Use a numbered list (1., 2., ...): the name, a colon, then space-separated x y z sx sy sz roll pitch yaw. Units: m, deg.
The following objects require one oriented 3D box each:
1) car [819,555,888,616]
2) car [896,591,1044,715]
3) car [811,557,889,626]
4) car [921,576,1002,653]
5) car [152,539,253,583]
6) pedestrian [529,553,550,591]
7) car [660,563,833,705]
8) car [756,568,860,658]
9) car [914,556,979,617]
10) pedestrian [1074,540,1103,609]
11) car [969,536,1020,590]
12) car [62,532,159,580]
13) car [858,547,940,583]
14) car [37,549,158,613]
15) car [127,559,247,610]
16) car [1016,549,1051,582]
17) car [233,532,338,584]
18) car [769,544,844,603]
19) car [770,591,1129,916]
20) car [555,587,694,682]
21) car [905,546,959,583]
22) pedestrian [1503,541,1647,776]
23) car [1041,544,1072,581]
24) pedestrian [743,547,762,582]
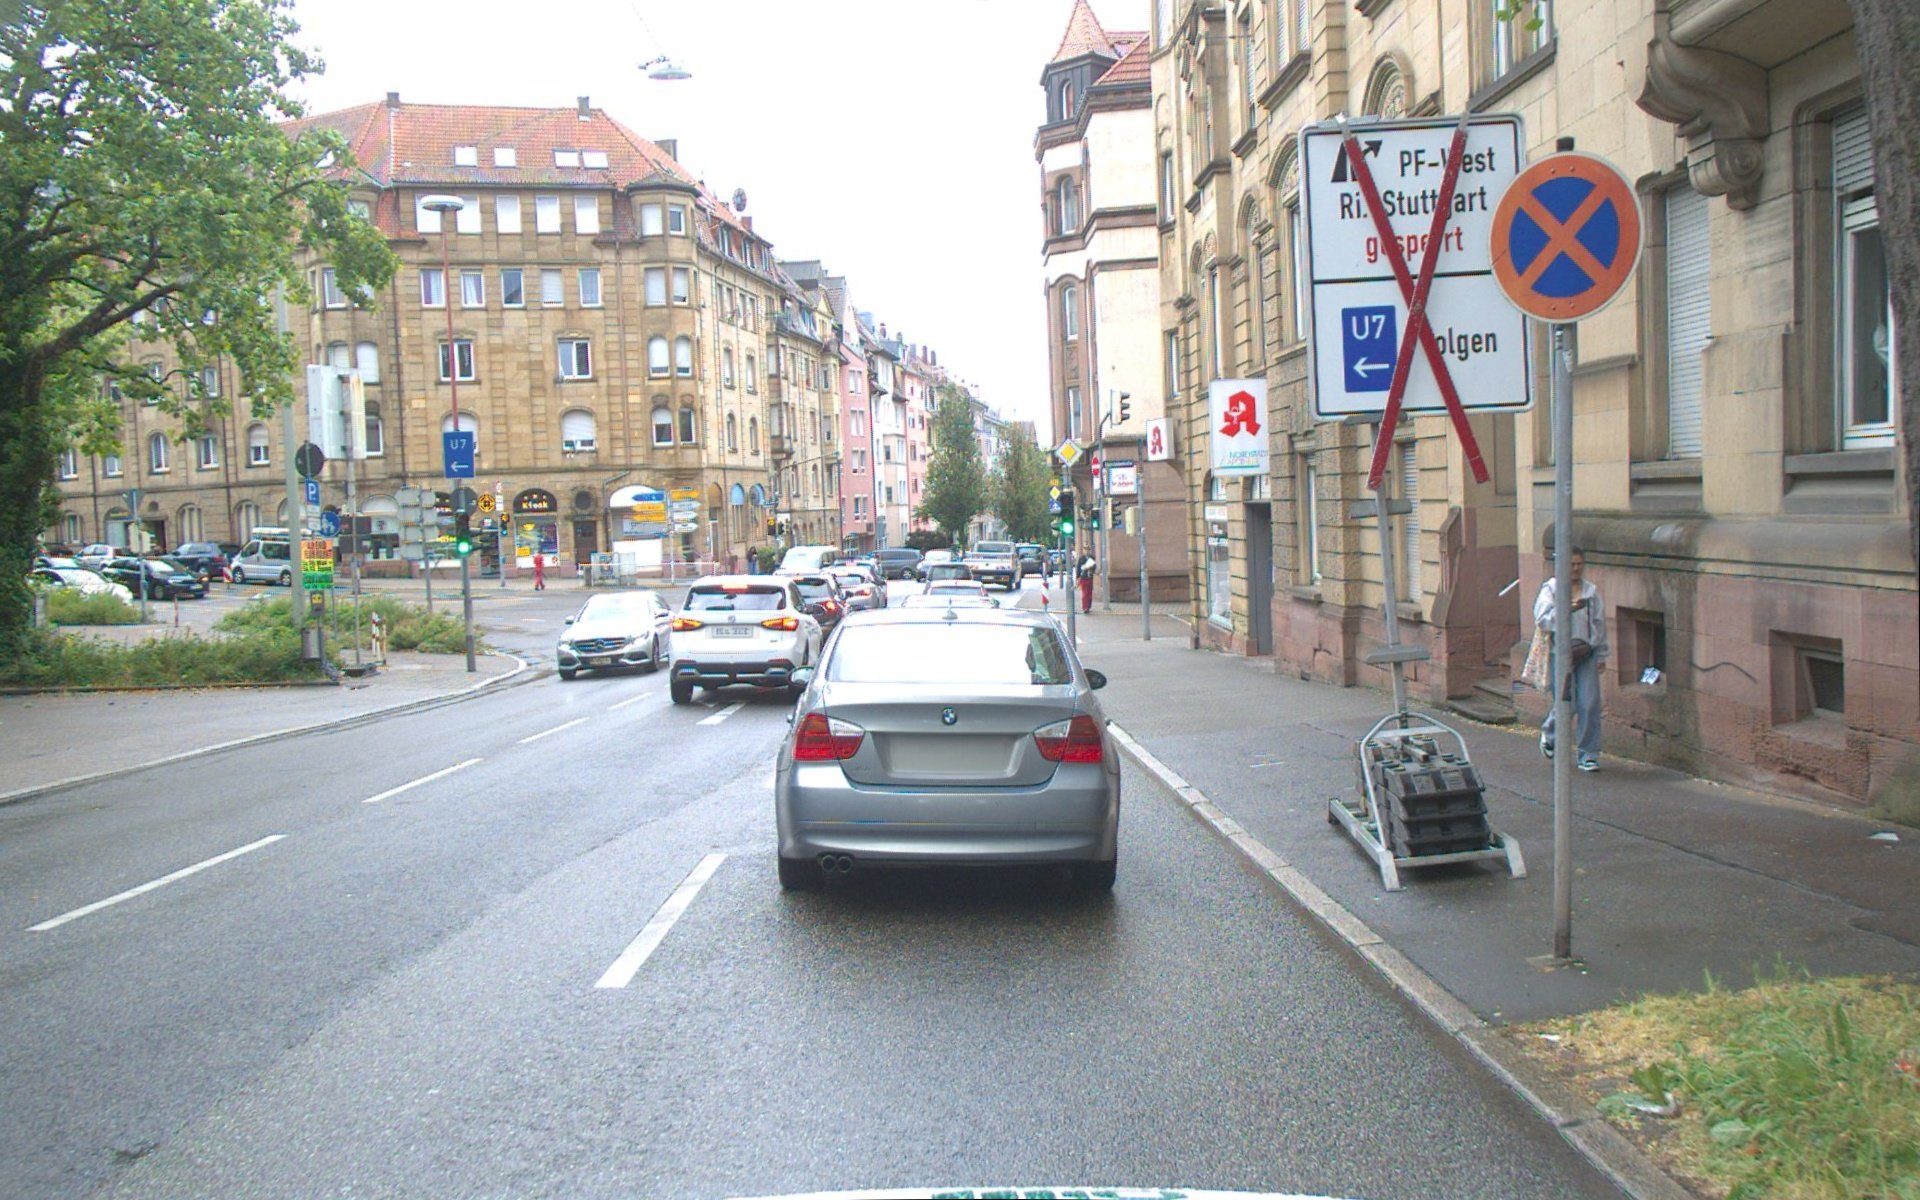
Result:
1. car: -3.133 -0.436 49.113 1.723 1.737 4.001 0 1 1
2. car: 0.147 0.603 21.263 1.723 1.407 4.001 0 1 1
3. car: -2.840 -0.240 43.400 1.723 1.737 4.001 0 1 1
4. car: 0.060 0.254 33.941 1.562 1.490 4.001 0 1 1
5. car: -33.722 -1.758 73.642 4.197 1.870 1.997 2 3 28
6. pedestrian: -17.806 -1.176 70.069 0.525 1.605 0.720 -2 0 16
7. car: -2.824 0.377 22.658 1.830 1.653 4.000 -2 2 -1
8. car: -3.082 0.223 34.179 1.723 1.737 4.001 0 1 1
9. car: -0.332 -0.397 46.346 1.723 1.594 4.001 0 1 1
10. pedestrian: 3.650 -0.718 47.077 0.727 1.943 0.659 -1 1 -1
11. car: 1.358 -1.468 67.127 1.953 2.143 4.000 0 0 0
12. car: -39.629 -2.079 77.134 4.197 2.138 1.997 2 3 28
13. car: -3.853 -2.210 105.025 5.071 2.049 2.698 1 0 -1
14. car: -29.313 -0.633 56.175 3.914 2.049 1.874 -1 0 31
15. car: -28.408 -0.607 60.785 4.157 1.756 1.996 1 2 31
16. car: 3.810 -1.752 86.068 1.689 1.579 4.001 1 0 2
17. car: -29.178 -1.858 71.542 4.197 2.138 1.997 2 3 28
18. car: -5.433 -0.950 59.037 1.724 1.959 4.327 -1 1 7
19. car: -0.018 0.675 9.148 1.590 1.407 3.616 0 1 1
20. car: -6.333 0.595 31.690 1.703 1.553 4.471 -4 1 -1
21. car: -1.299 -1.650 77.852 1.805 1.568 4.003 1 0 9
22. pedestrian: 4.274 0.391 11.535 0.618 1.534 0.693 -5 0 -1
23. car: 5.736 -2.197 97.844 1.689 2.049 4.002 1 0 5
24. pedestrian: -9.522 -1.635 76.058 0.716 1.605 0.529 -1 1 8
